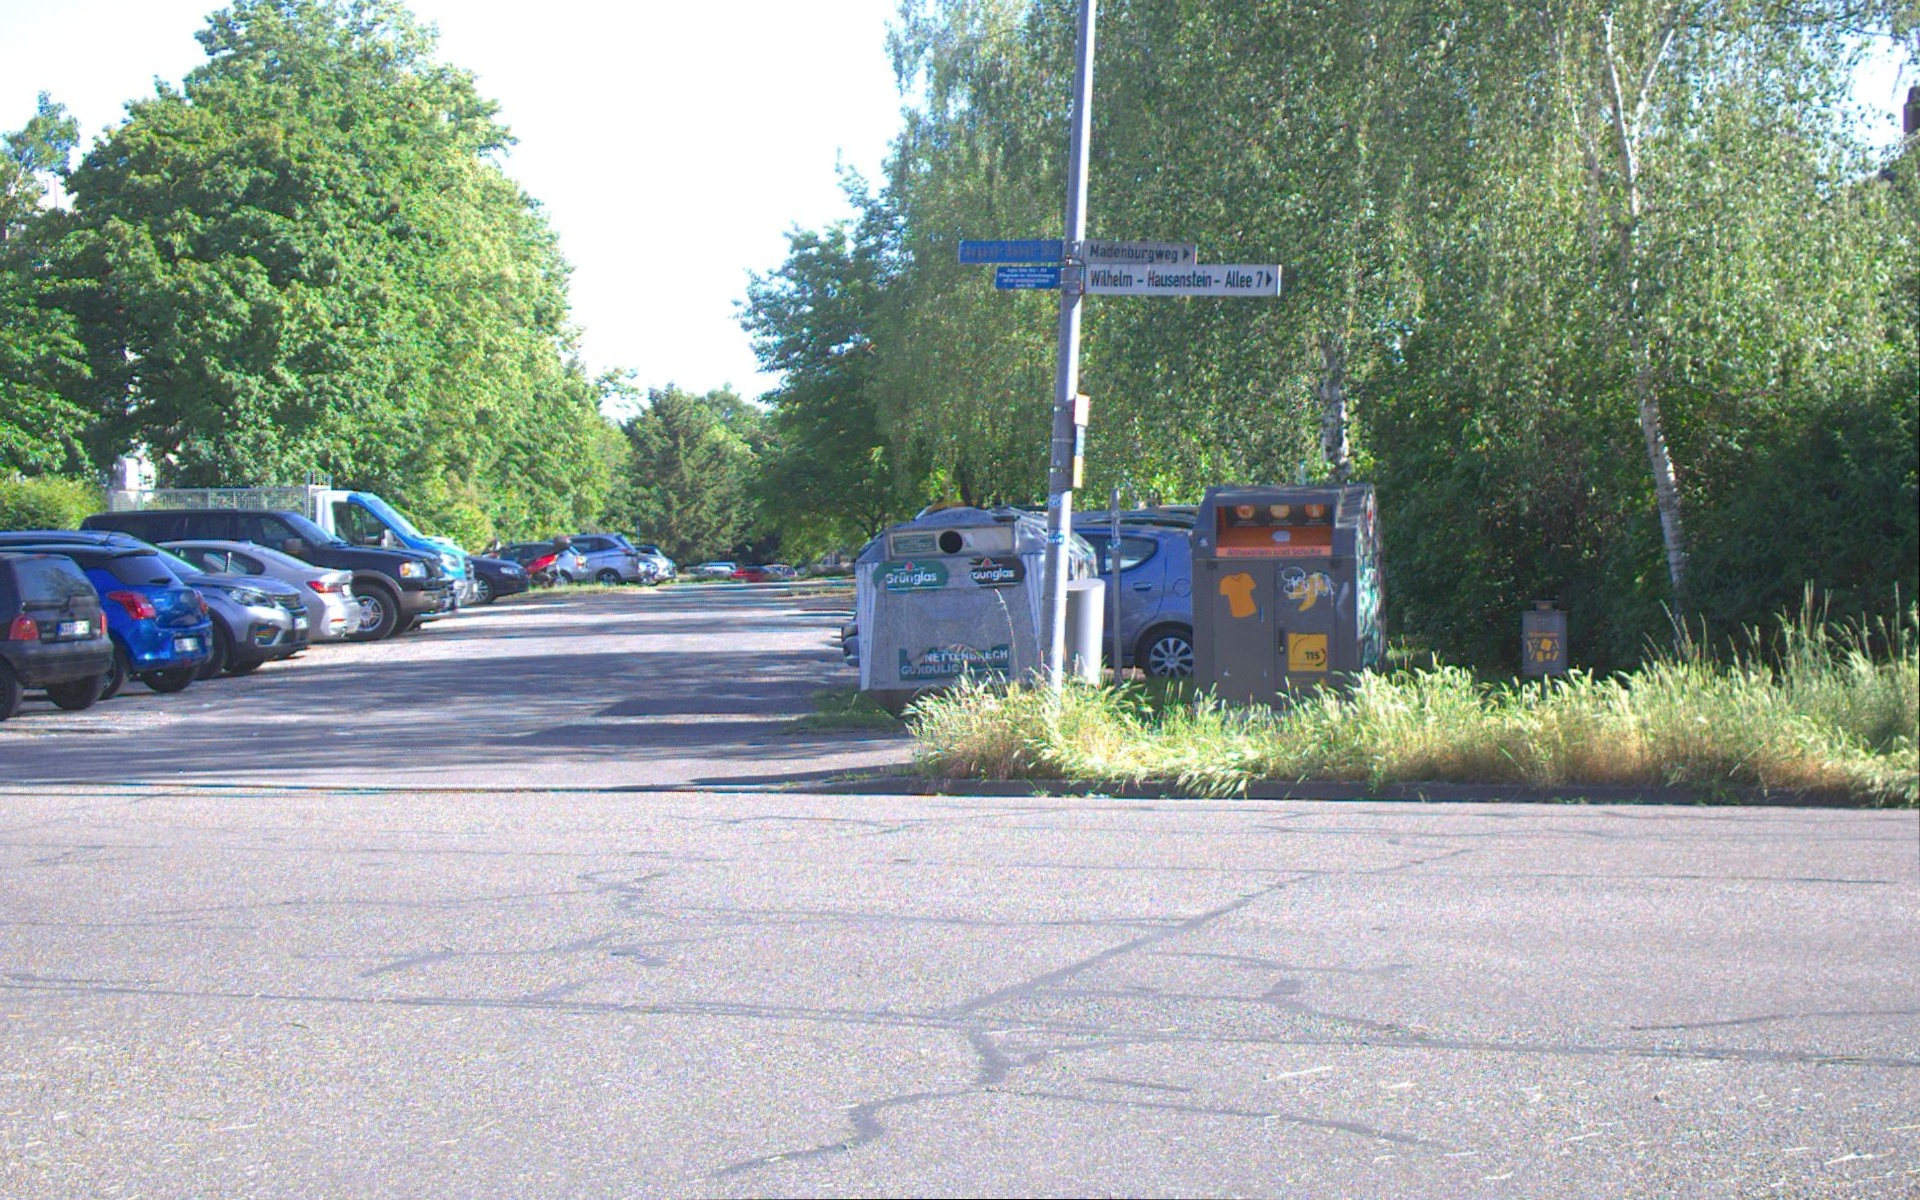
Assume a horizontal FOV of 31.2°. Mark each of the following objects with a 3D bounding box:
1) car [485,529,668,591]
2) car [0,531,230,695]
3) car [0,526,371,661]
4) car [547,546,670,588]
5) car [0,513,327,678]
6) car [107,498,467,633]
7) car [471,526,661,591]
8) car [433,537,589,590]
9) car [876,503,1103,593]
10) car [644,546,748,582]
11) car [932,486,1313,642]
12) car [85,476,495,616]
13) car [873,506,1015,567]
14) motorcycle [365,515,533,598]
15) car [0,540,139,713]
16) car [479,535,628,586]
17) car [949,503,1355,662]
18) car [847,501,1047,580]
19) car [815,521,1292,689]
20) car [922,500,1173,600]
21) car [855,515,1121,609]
[{"bbox_3d":[-8.636,-0.918,77.580,3.939,1.329,1.847,-1,1,-1],"label":"car"},{"bbox_3d":[-9.169,0.138,33.354,3.682,1.491,1.650,-1,1,12],"label":"car"},{"bbox_3d":[-9.280,-0.090,41.284,4.143,1.450,1.619,-2,1,-3],"label":"car"},{"bbox_3d":[-11.759,-1.119,115.094,3.939,1.329,1.847,-1,1,-1],"label":"car"},{"bbox_3d":[-9.579,-0.041,37.312,4.992,1.649,1.784,-2,1,5],"label":"car"},{"bbox_3d":[-9.239,-0.487,47.388,4.523,1.765,1.847,-1,1,4],"label":"car"},{"bbox_3d":[-8.522,-0.903,74.554,3.939,1.329,1.847,-1,1,-1],"label":"car"},{"bbox_3d":[-11.960,-0.983,91.757,3.939,1.329,1.847,-1,1,-1],"label":"car"},{"bbox_3d":[0.548,-0.929,61.327,3.987,1.580,1.797,0,1,2],"label":"car"},{"bbox_3d":[-9.527,-1.296,124.208,3.644,1.208,1.847,-1,1,-1],"label":"car"},{"bbox_3d":[1.822,-0.437,39.322,4.103,1.700,1.791,0,2,-7],"label":"car"},{"bbox_3d":[-10.863,-0.890,56.146,6.255,2.139,2.411,-1,1,-3],"label":"car"},{"bbox_3d":[-0.441,-1.808,98.228,3.987,1.702,1.797,0,1,2],"label":"car"},{"bbox_3d":[-10.188,-0.874,68.674,3.191,1.590,0.923,-1,1,1],"label":"motorcycle"},{"bbox_3d":[-9.380,0.215,30.838,3.525,1.461,1.703,0,2,16],"label":"car"},{"bbox_3d":[-11.228,-1.105,95.133,3.939,1.329,1.847,-1,1,-1],"label":"car"},{"bbox_3d":[1.993,-0.213,36.398,4.052,1.597,1.791,0,2,-6],"label":"car"},{"bbox_3d":[-0.244,-1.206,69.672,3.987,1.580,1.797,0,1,2],"label":"car"},{"bbox_3d":[0.863,0.019,30.895,4.055,1.434,1.634,1,1,12],"label":"car"},{"bbox_3d":[1.424,-0.798,55.531,3.987,1.580,1.797,0,1,2],"label":"car"},{"bbox_3d":[0.454,-0.576,52.416,3.987,1.396,1.797,0,1,2],"label":"car"}]
